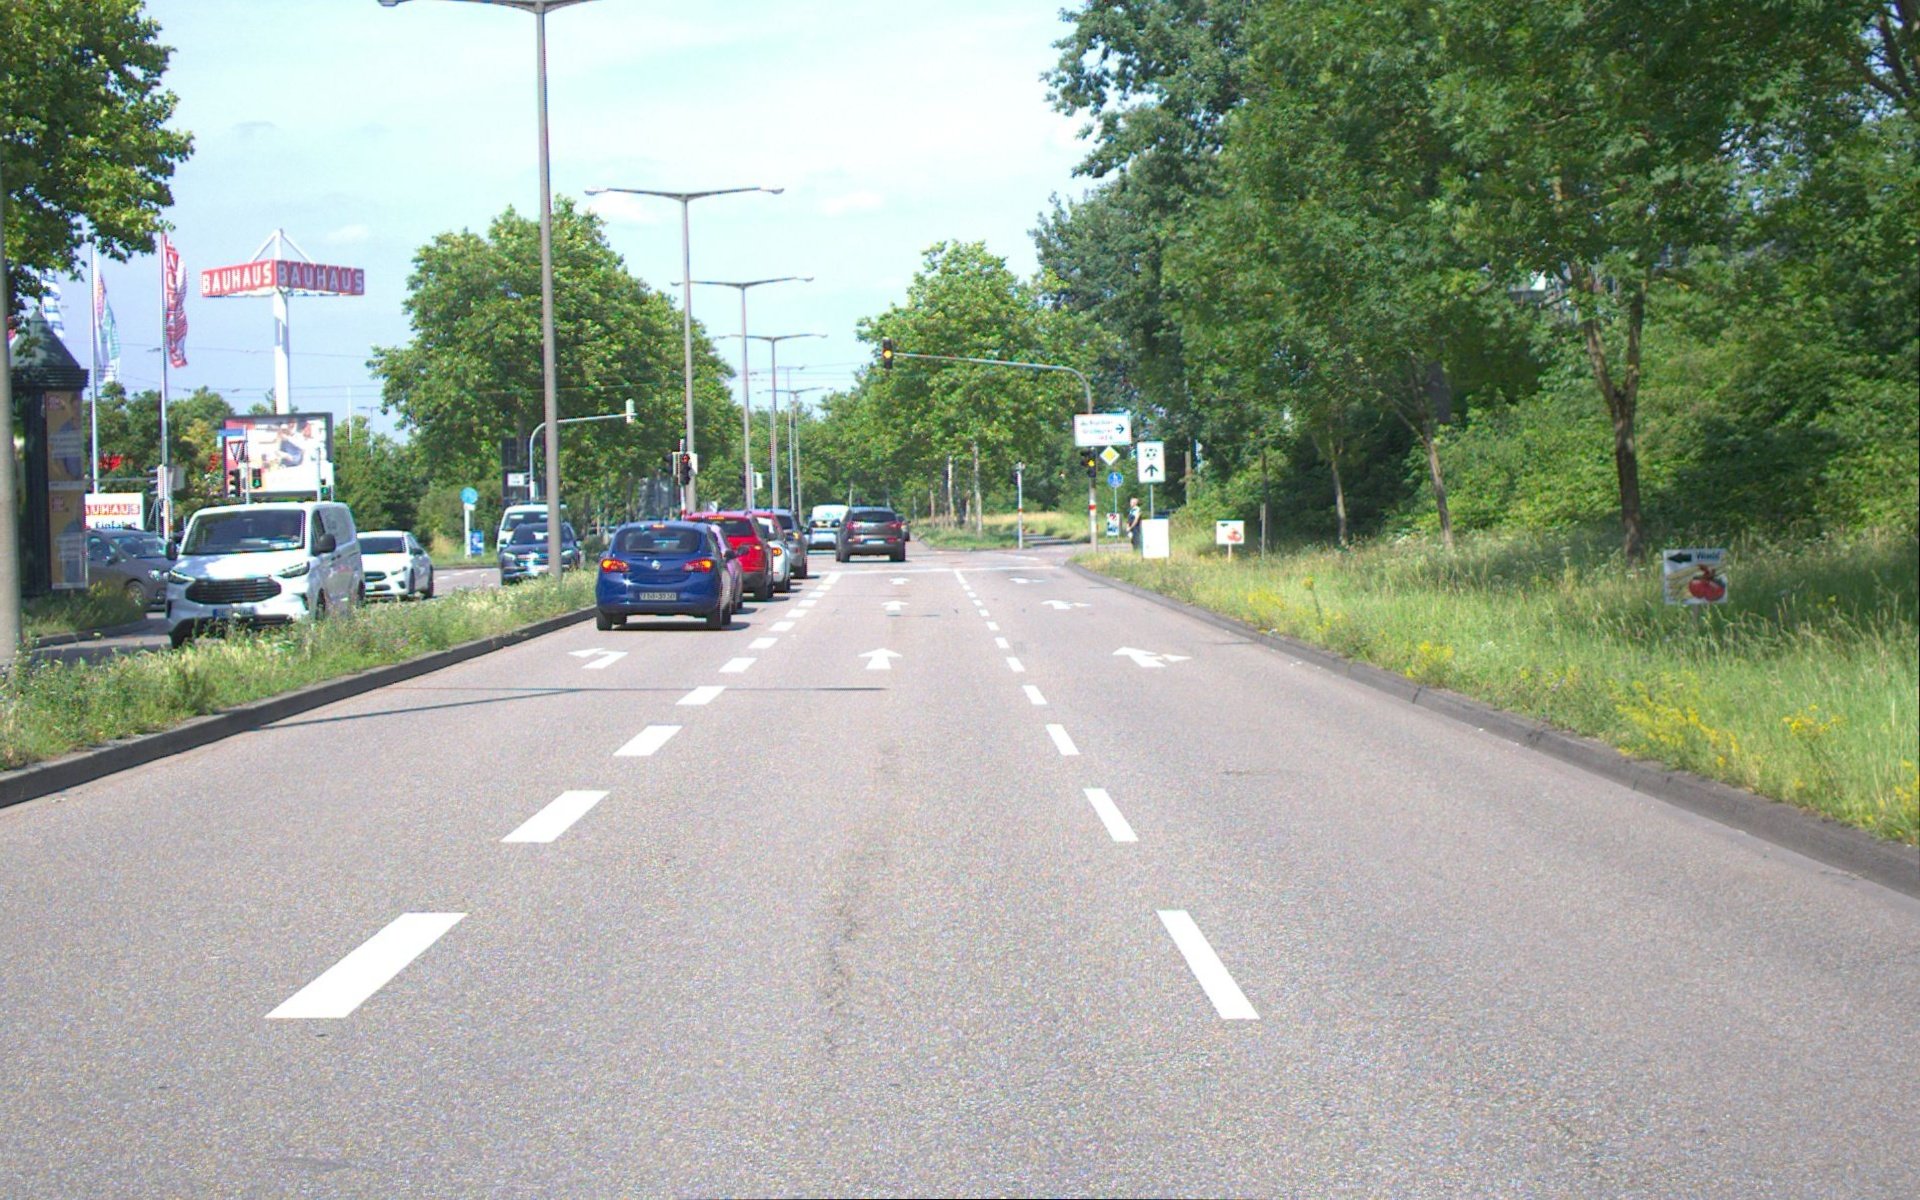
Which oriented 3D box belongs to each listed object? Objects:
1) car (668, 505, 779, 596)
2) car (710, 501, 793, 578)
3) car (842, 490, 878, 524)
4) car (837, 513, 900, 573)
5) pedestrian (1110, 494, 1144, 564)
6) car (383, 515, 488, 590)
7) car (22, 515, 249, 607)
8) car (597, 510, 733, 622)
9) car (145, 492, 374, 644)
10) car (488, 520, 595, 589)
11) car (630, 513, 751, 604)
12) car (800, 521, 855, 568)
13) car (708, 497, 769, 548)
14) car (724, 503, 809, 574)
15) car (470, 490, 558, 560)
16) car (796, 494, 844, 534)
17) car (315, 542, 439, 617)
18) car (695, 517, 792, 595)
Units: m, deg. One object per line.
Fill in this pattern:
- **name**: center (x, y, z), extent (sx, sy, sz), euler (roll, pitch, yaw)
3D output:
- **car**: center (-4.261, -0.931, 62.476), extent (1.782, 1.587, 4.594), euler (0, 2, -1)
- **car**: center (-4.551, -1.311, 75.261), extent (1.628, 1.590, 3.918), euler (-1, 1, -1)
- **car**: center (-6.167, -5.698, 211.545), extent (1.993, 2.007, 4.001), euler (-1, 1, -4)
- **car**: center (-2.655, -1.679, 100.533), extent (1.736, 1.530, 4.001), euler (-1, 4, -1)
- **pedestrian**: center (4.654, -1.983, 95.730), extent (0.837, 1.926, 0.772), euler (-1, 4, -4)
- **car**: center (-12.516, -1.151, 82.301), extent (1.977, 1.687, 4.001), euler (-2, 1, -2)
- **car**: center (-16.990, -0.798, 70.817), extent (4.392, 1.744, 1.866), euler (-1, 2, 29)
- **car**: center (-4.046, -0.504, 47.640), extent (1.626, 1.478, 4.049), euler (0, 2, -1)
- **car**: center (-9.486, -0.484, 46.997), extent (2.116, 1.877, 5.420), euler (-2, 2, -2)
- **car**: center (-10.019, -1.121, 82.580), extent (1.993, 1.525, 4.683), euler (-2, 1, -1)
- **car**: center (-4.294, -0.698, 55.303), extent (1.702, 1.385, 4.473), euler (0, 2, -1)
- **car**: center (-5.222, -2.204, 135.551), extent (1.993, 1.738, 4.266), euler (-2, 1, -1)
- **car**: center (-8.448, -2.963, 131.419), extent (1.993, 1.853, 4.000), euler (-2, 1, 1)
- **car**: center (-4.585, -1.486, 81.920), extent (1.881, 1.612, 4.213), euler (-1, 1, -1)
- **car**: center (-13.391, -2.283, 103.486), extent (1.993, 2.006, 5.214), euler (-2, 2, -1)
- **car**: center (-6.342, -3.908, 156.264), extent (1.993, 1.702, 4.264), euler (-2, 1, 0)
- **car**: center (-11.904, -0.440, 70.465), extent (1.787, 1.393, 4.359), euler (-3, 1, -1)
- **car**: center (-4.275, -0.898, 68.280), extent (1.766, 1.474, 4.136), euler (0, 2, -1)
